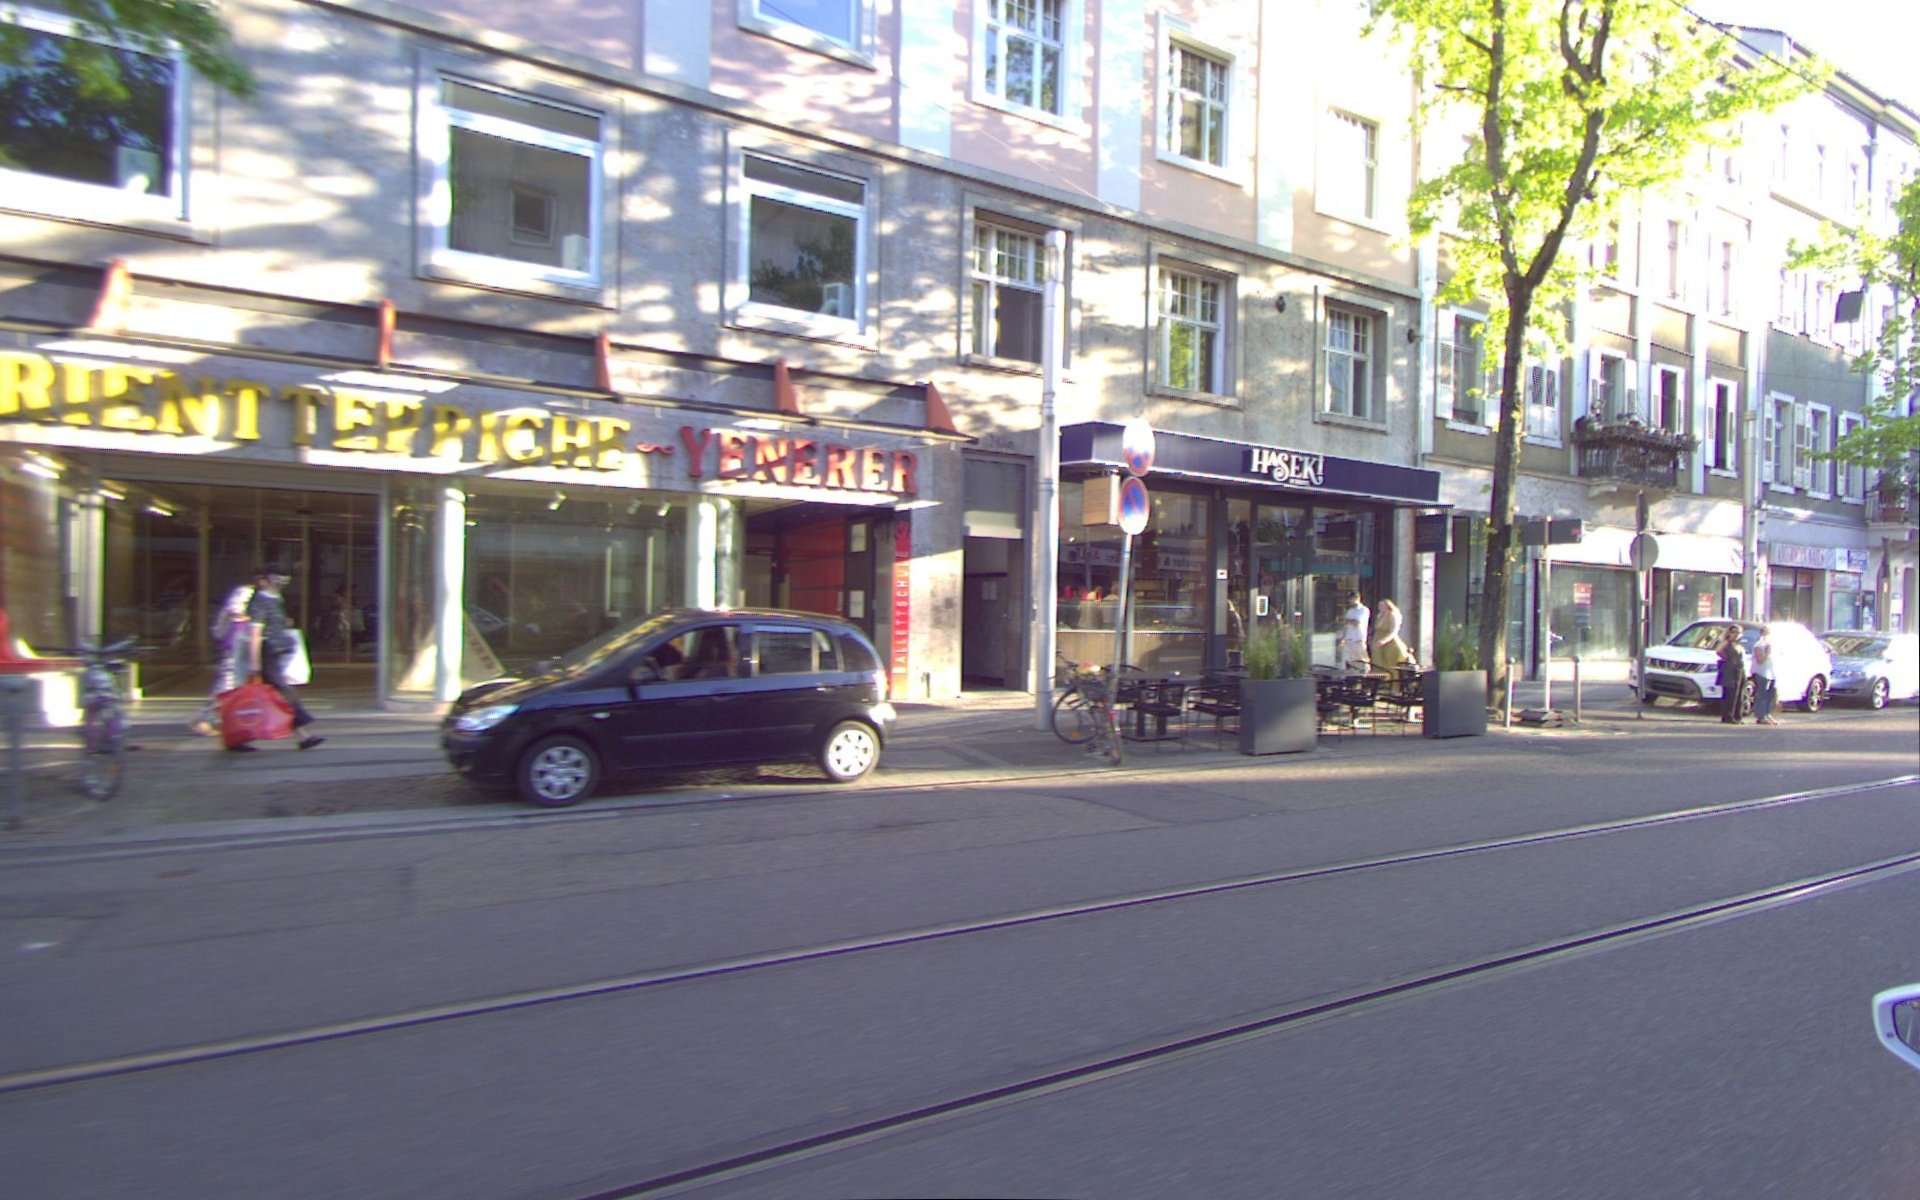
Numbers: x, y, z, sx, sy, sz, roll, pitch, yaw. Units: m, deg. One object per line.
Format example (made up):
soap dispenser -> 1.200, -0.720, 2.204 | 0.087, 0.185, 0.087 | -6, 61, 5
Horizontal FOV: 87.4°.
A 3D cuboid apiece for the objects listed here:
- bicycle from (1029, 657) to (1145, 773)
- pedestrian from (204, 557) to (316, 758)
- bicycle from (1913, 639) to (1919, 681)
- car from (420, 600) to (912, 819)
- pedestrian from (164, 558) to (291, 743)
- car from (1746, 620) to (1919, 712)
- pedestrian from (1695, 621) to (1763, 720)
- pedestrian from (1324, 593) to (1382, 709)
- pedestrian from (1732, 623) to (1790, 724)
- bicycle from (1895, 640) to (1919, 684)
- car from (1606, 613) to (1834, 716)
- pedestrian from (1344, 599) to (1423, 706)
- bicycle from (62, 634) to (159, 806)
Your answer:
bicycle -> 1.287, 1.153, 10.480 | 0.426, 0.978, 1.612 | 1, 2, -23
pedestrian -> -6.317, 0.496, 9.107 | 0.731, 1.716, 0.840 | 1, 0, -30
bicycle -> 26.203, 1.633, 26.022 | 2.081, 1.119, 0.499 | 3, 1, 36
car -> -2.483, 0.802, 8.704 | 3.784, 1.447, 1.656 | 1, 2, -32
pedestrian -> -7.197, 0.477, 9.918 | 0.903, 1.716, 0.785 | 1, 0, -30
car -> 18.623, 1.313, 20.896 | 4.645, 1.601, 1.828 | 1, 3, -29
pedestrian -> 12.260, 1.117, 16.022 | 0.720, 1.529, 0.617 | 2, -1, -29
pedestrian -> 7.086, 0.895, 18.131 | 0.635, 2.040, 0.719 | 1, 0, -29
pedestrian -> 12.991, 1.178, 16.287 | 0.626, 1.590, 0.519 | 2, -1, -29
bicycle -> 25.344, 1.646, 25.746 | 1.920, 1.119, 0.565 | 3, 1, 36
car -> 14.173, 1.144, 18.712 | 4.066, 1.601, 1.828 | 1, 3, -29
pedestrian -> 7.290, 0.889, 17.289 | 1.077, 1.784, 0.718 | 1, 0, -29
bicycle -> -6.454, 0.846, 7.681 | 0.436, 1.079, 1.796 | 1, 1, -37
